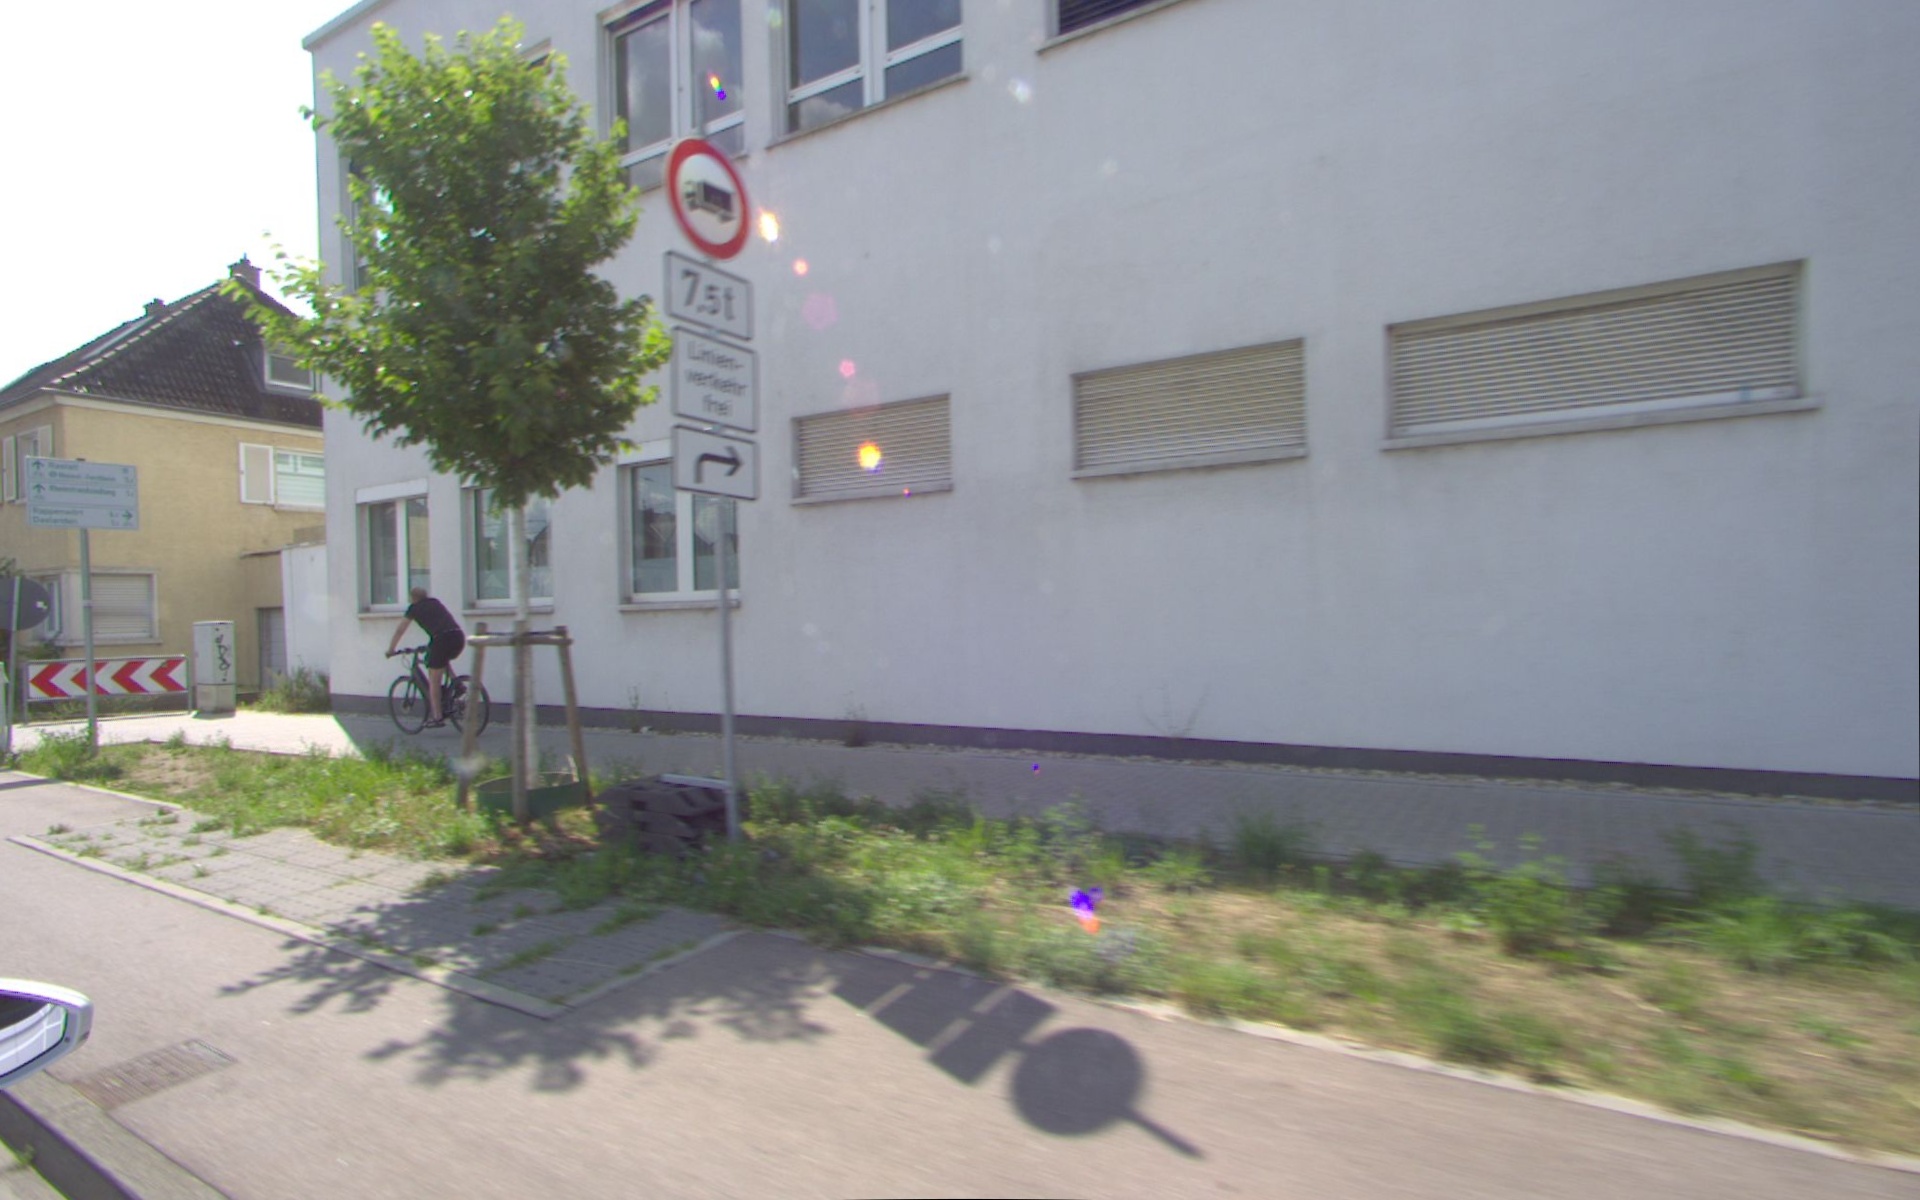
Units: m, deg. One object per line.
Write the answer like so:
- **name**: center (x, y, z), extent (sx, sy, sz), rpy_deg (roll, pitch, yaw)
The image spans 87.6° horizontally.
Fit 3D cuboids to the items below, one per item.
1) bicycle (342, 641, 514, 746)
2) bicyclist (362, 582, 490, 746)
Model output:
- **bicycle**: center (-6.224, 1.049, 11.694), extent (1.941, 1.090, 0.827), rpy_deg (-1, 1, 29)
- **bicyclist**: center (-6.222, 0.711, 11.679), extent (1.067, 1.818, 0.827), rpy_deg (-1, 1, 30)
